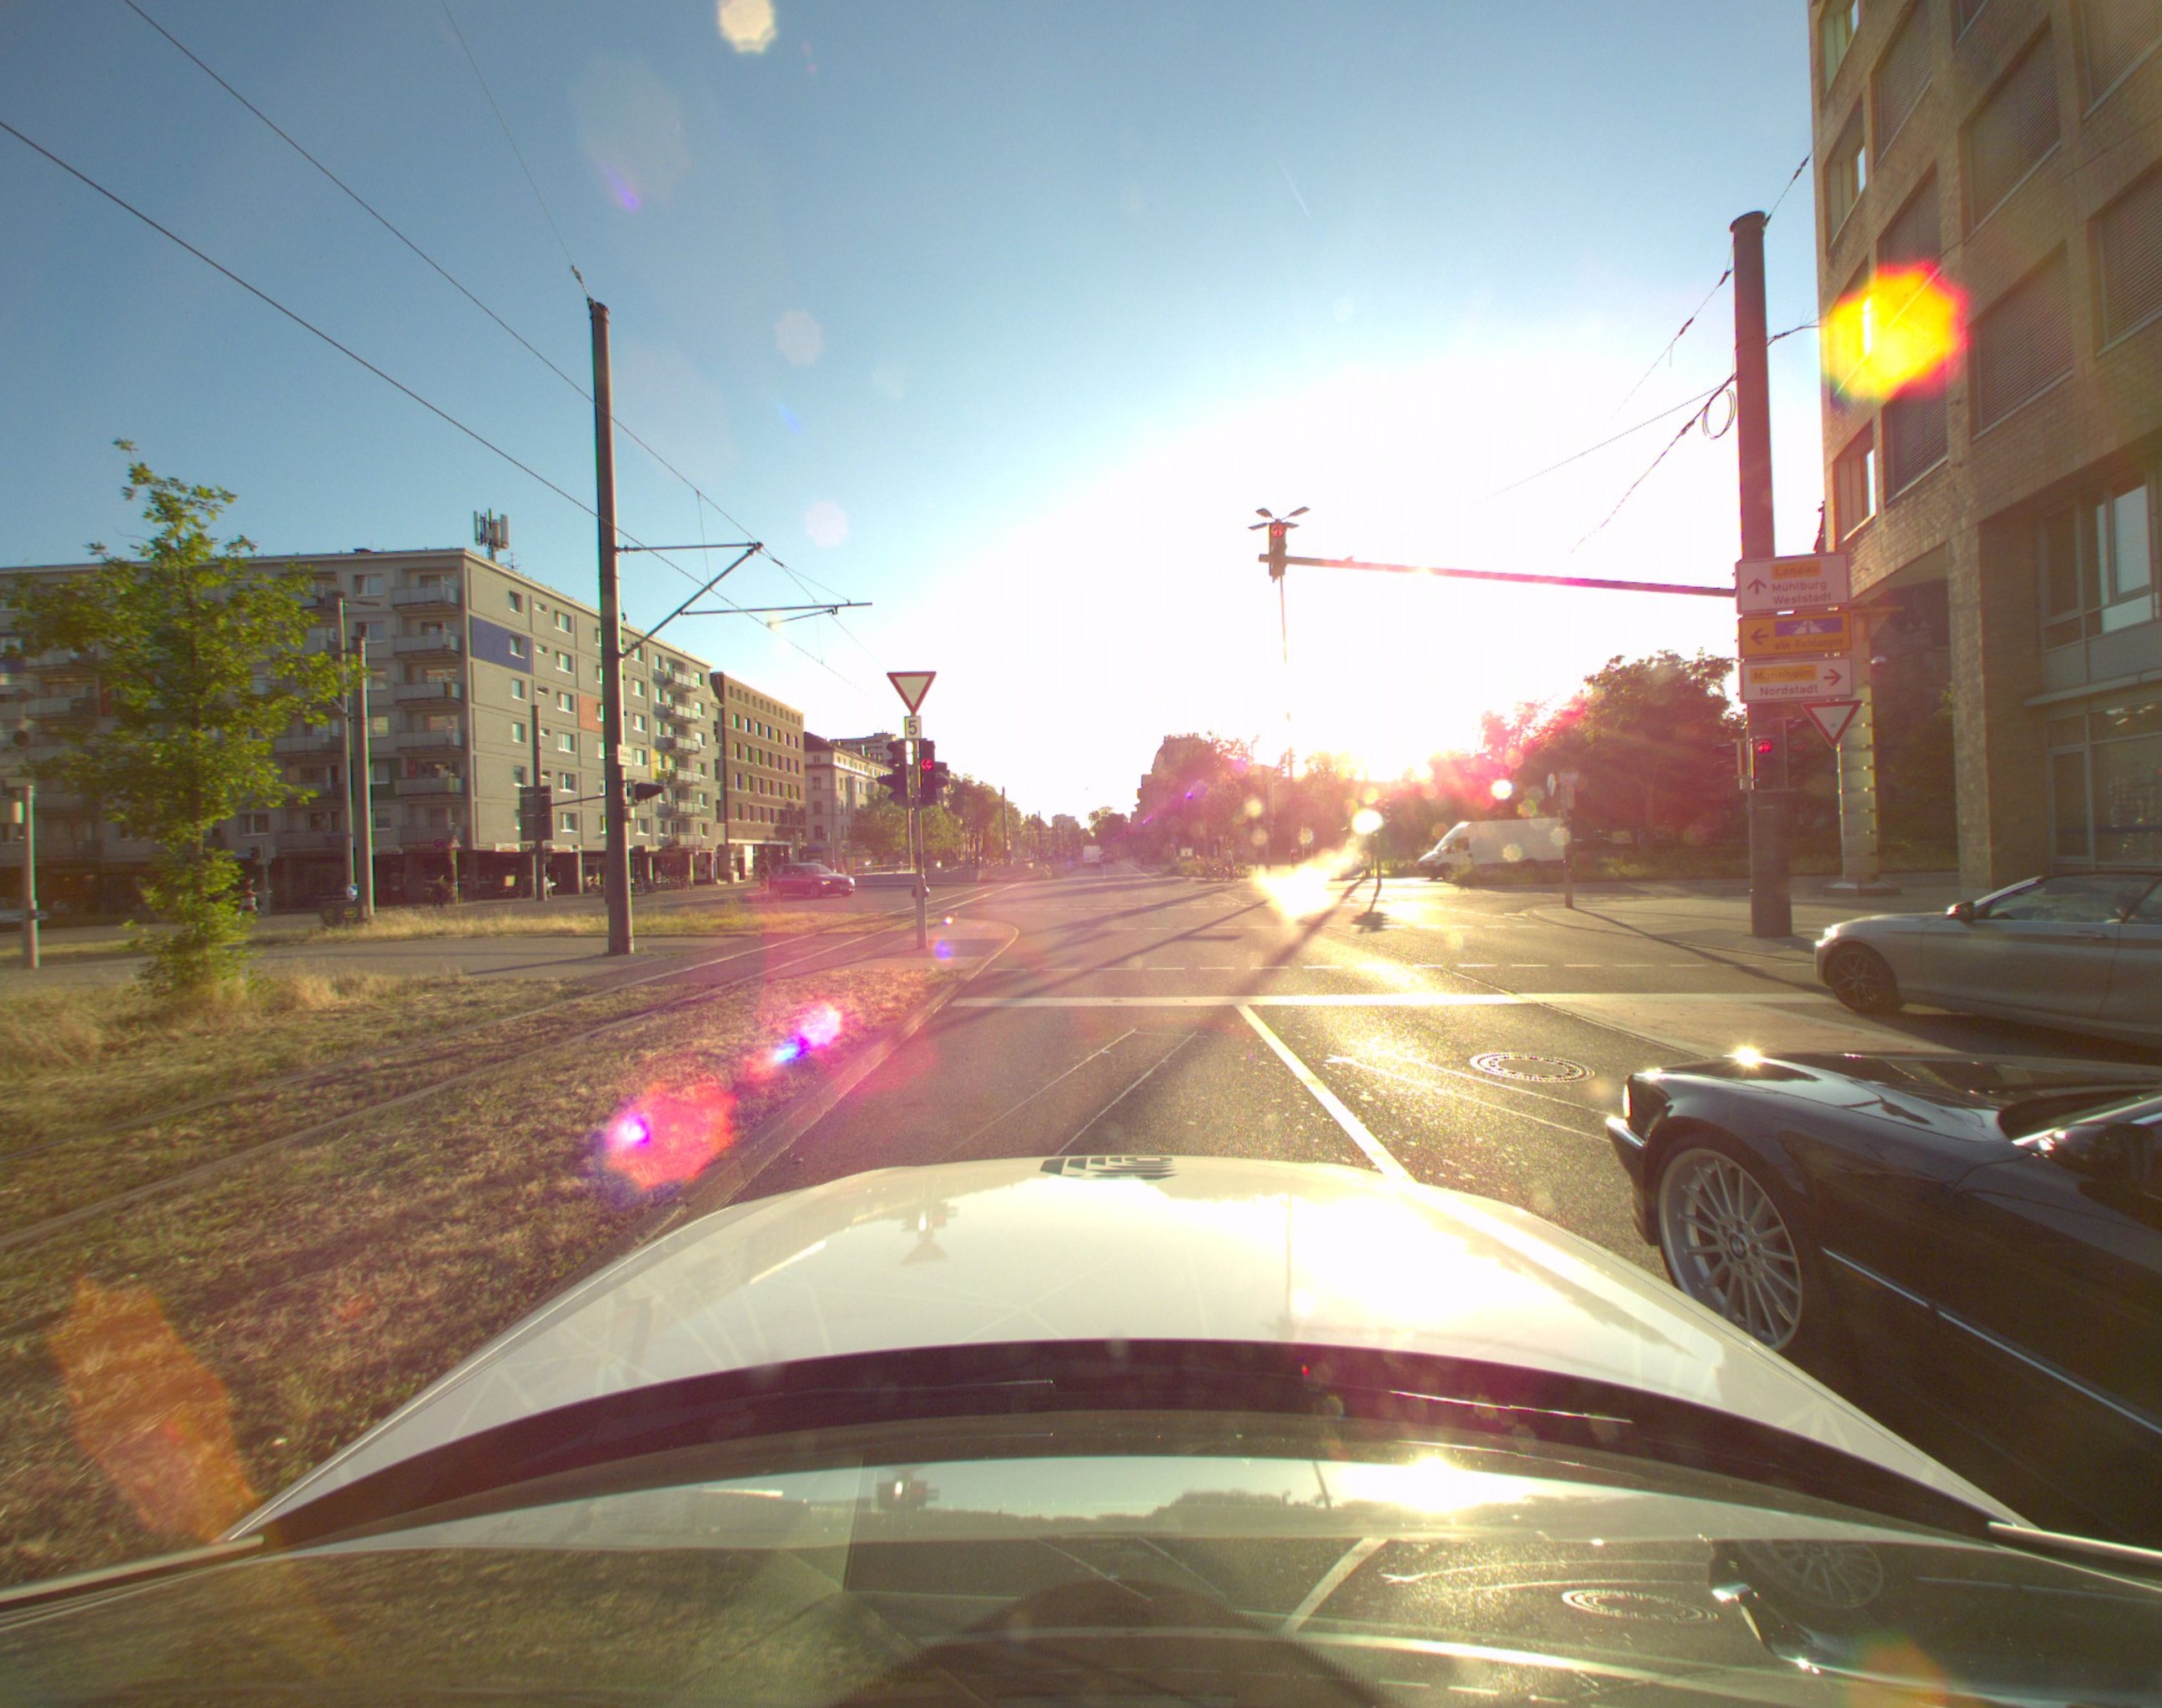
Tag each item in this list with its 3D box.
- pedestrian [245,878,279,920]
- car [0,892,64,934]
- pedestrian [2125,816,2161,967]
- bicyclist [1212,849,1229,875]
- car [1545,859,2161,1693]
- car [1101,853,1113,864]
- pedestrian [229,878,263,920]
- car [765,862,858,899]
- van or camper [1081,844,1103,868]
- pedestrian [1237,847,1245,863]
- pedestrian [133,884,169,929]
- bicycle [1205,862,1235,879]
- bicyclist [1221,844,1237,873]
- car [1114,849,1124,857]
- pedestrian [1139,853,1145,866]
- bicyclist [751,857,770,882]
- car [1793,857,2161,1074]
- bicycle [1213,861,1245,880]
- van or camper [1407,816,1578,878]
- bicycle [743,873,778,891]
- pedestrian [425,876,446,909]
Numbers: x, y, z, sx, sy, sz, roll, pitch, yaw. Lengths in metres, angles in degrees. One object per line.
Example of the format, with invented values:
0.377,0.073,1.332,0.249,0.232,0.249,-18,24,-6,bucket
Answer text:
-37.717,2.062,37.507,0.600,1.847,0.823,-2,1,2,pedestrian
-45.824,2.522,34.129,3.857,1.585,1.801,-2,1,-4,car
11.661,0.388,8.432,0.675,1.569,0.800,-2,1,-1,pedestrian
8.154,0.475,47.636,0.849,1.442,0.664,-2,1,7,bicyclist
2.736,0.747,0.969,1.823,1.354,4.643,-1,1,1,car
3.850,0.627,119.889,1.730,1.385,4.003,-2,1,2,car
-38.598,2.087,37.635,0.702,1.851,0.737,-2,1,2,pedestrian
-11.397,1.103,34.356,3.948,1.434,1.729,-2,0,38,car
1.309,0.175,93.575,2.254,2.624,4.506,-2,1,2,van or camper
16.596,0.071,84.642,0.679,1.611,0.613,-2,1,2,pedestrian
-39.575,2.240,34.675,0.631,1.847,0.682,-2,1,2,pedestrian
8.135,0.957,47.647,1.709,0.970,0.611,-1,1,6,bicycle
8.299,0.257,45.697,0.793,1.571,0.664,-2,1,6,bicyclist
8.101,-0.251,175.442,1.790,1.566,3.997,-2,1,-2,car
7.203,0.639,96.403,0.613,1.475,0.801,-2,1,6,pedestrian
-18.578,0.905,47.231,0.850,1.442,0.664,0,1,2,bicyclist
8.080,0.757,6.155,1.777,1.354,4.269,-1,1,2,car
8.274,0.923,45.705,1.719,0.970,0.611,-1,1,7,bicycle
20.093,-0.366,40.037,7.012,2.674,2.601,-2,1,3,van or camper
-18.572,1.607,47.234,1.721,0.970,0.704,1,1,2,bicycle
-34.508,2.059,43.535,0.787,1.669,0.732,-3,1,-44,pedestrian
